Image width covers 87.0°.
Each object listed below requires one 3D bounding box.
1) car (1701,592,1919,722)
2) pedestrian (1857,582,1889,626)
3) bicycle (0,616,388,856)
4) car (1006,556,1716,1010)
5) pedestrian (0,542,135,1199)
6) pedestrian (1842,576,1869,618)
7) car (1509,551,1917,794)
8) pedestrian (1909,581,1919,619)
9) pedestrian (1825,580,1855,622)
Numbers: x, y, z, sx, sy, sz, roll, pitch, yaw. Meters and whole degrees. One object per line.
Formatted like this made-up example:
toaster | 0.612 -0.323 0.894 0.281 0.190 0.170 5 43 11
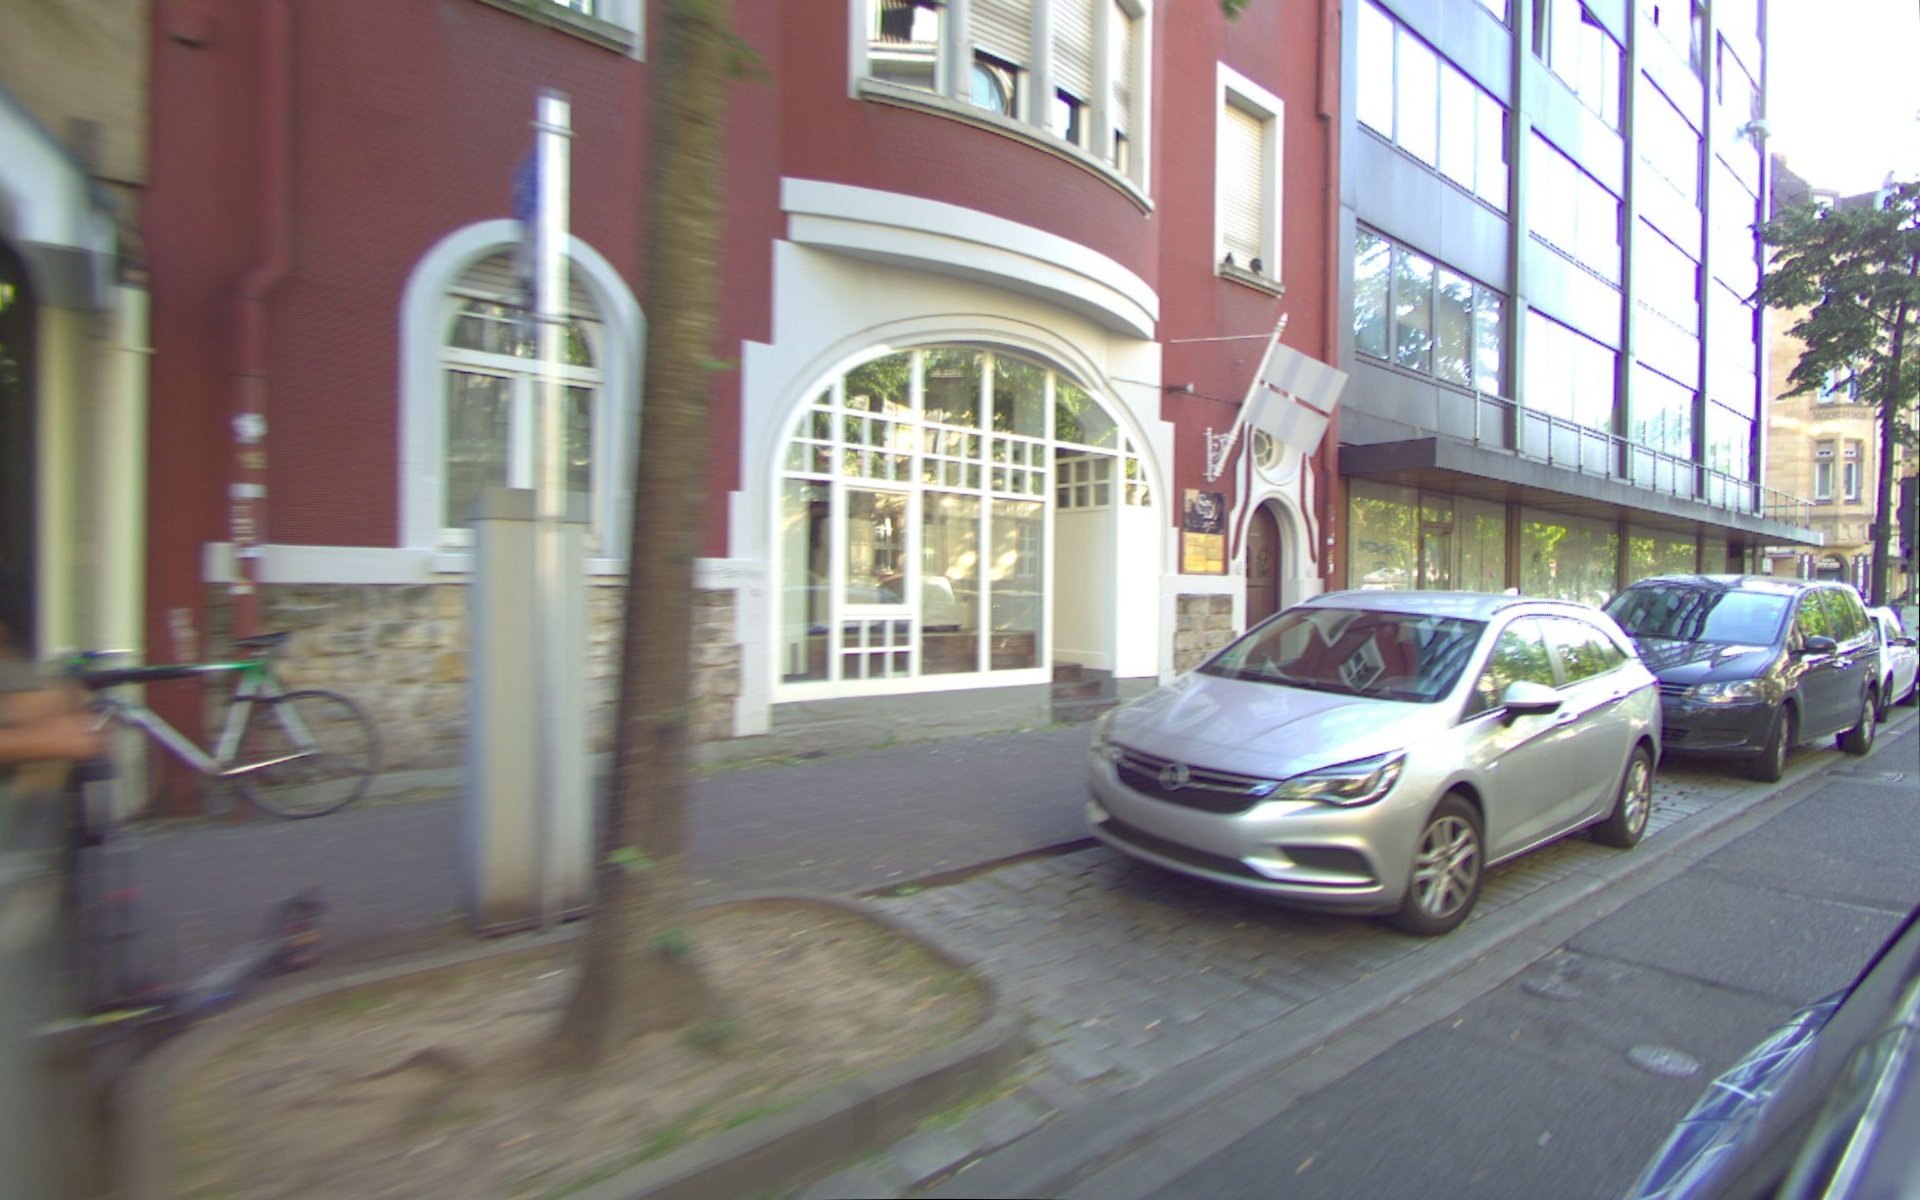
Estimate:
car | 12.195 0.660 14.151 4.756 1.419 1.827 0 4 -40
pedestrian | 36.075 0.138 39.998 0.663 1.712 0.619 0 2 4
bicycle | -3.869 0.613 5.081 1.671 1.014 0.475 0 2 -41
car | 2.654 0.644 5.971 4.756 1.615 1.826 0 4 -41
pedestrian | -2.428 0.646 2.233 0.875 1.555 1.059 0 1 -36
pedestrian | 36.925 -0.121 41.727 0.701 1.713 0.500 0 1 -13
car | 7.510 0.529 9.909 4.839 1.799 1.828 0 4 -37
pedestrian | 44.776 0.015 47.327 0.588 1.764 0.534 0 0 -45
pedestrian | 35.942 0.033 41.317 0.701 1.713 0.621 0 1 -13
